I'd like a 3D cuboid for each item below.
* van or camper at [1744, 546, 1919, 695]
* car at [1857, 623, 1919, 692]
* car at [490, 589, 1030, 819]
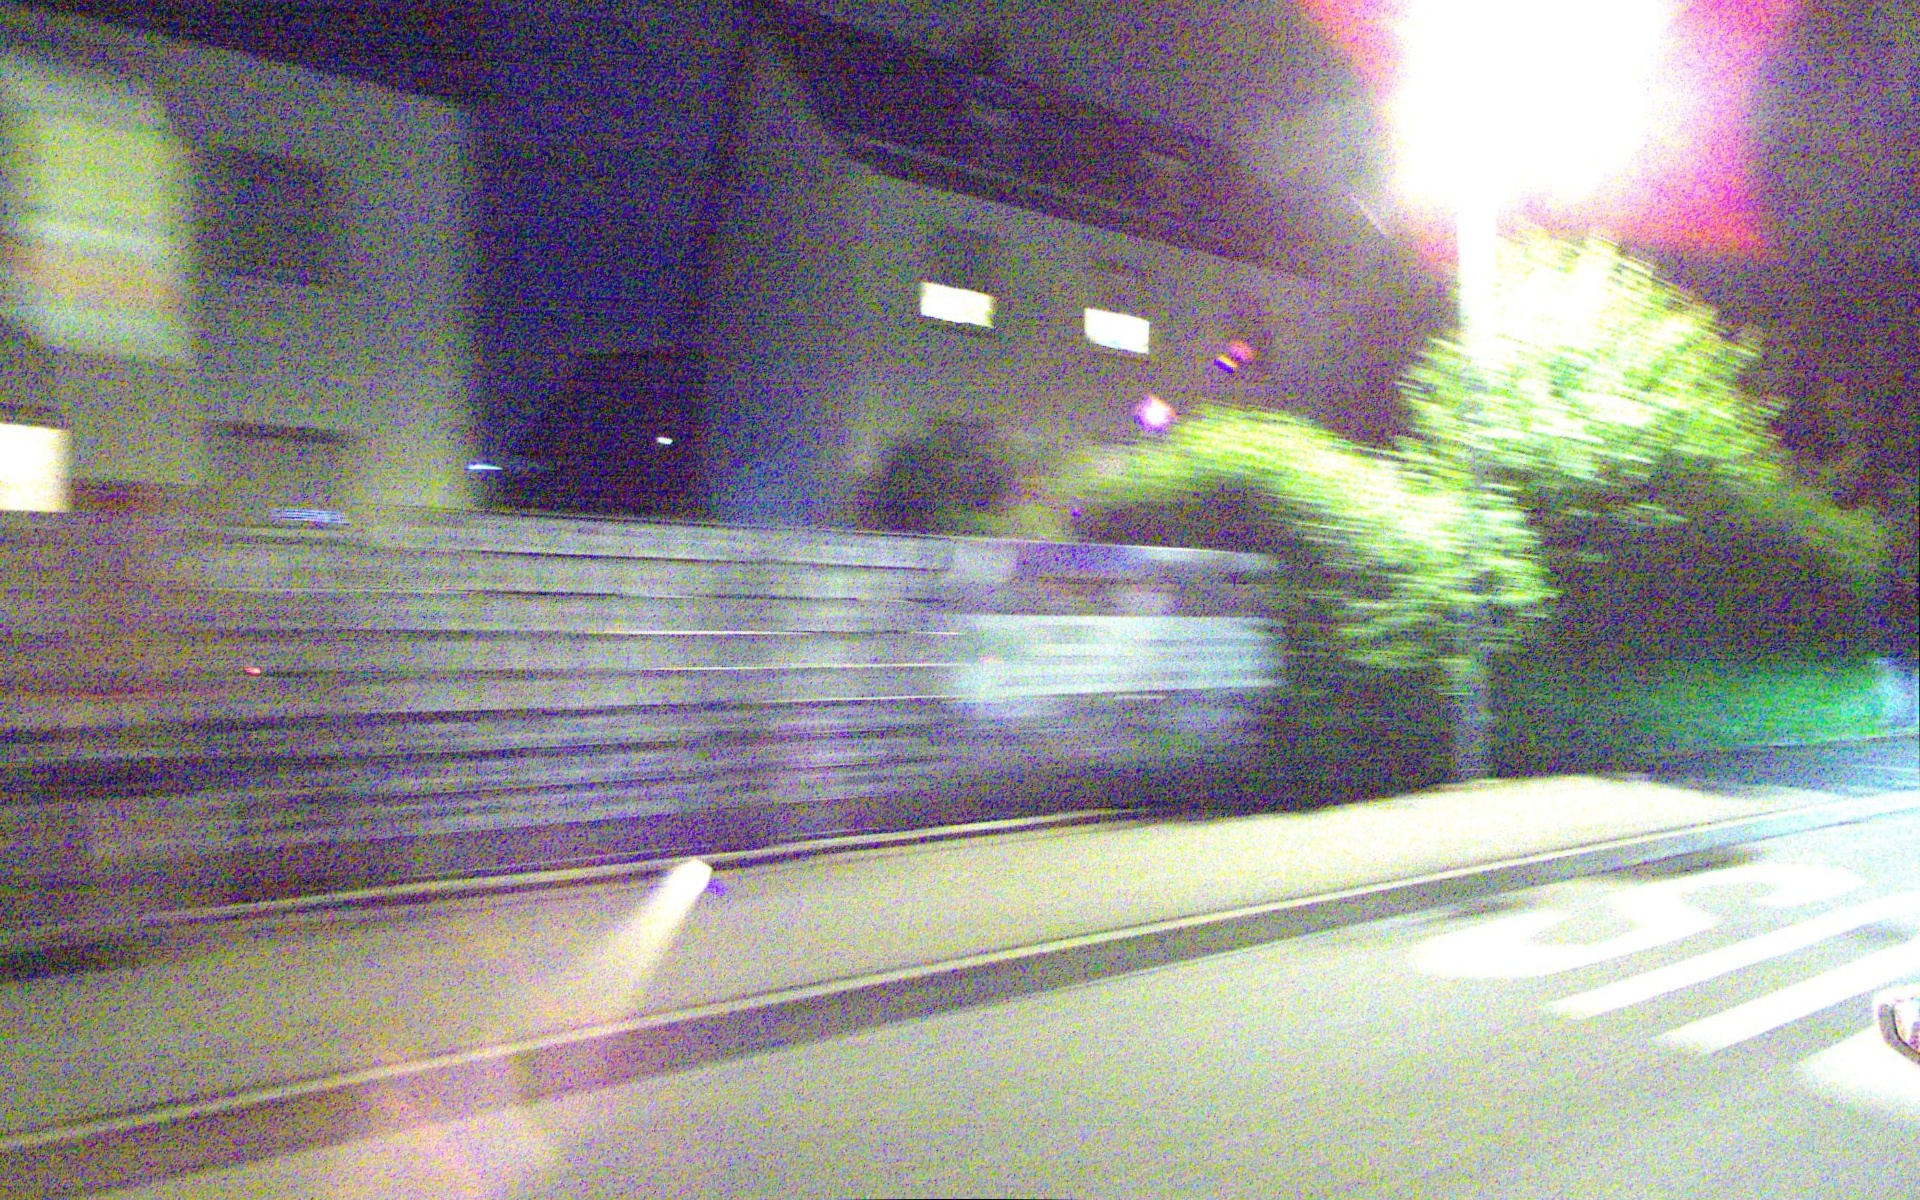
[{"bbox_3d":[20.950,0.446,22.190,2.114,3.152,5.356,1,0,-39],"label":"van or camper"},{"bbox_3d":[24.337,1.445,23.640,2.040,1.634,4.399,3,-1,-28],"label":"car"},{"bbox_3d":[-1.576,0.691,8.364,3.960,1.458,1.961,1,0,-35],"label":"car"}]
